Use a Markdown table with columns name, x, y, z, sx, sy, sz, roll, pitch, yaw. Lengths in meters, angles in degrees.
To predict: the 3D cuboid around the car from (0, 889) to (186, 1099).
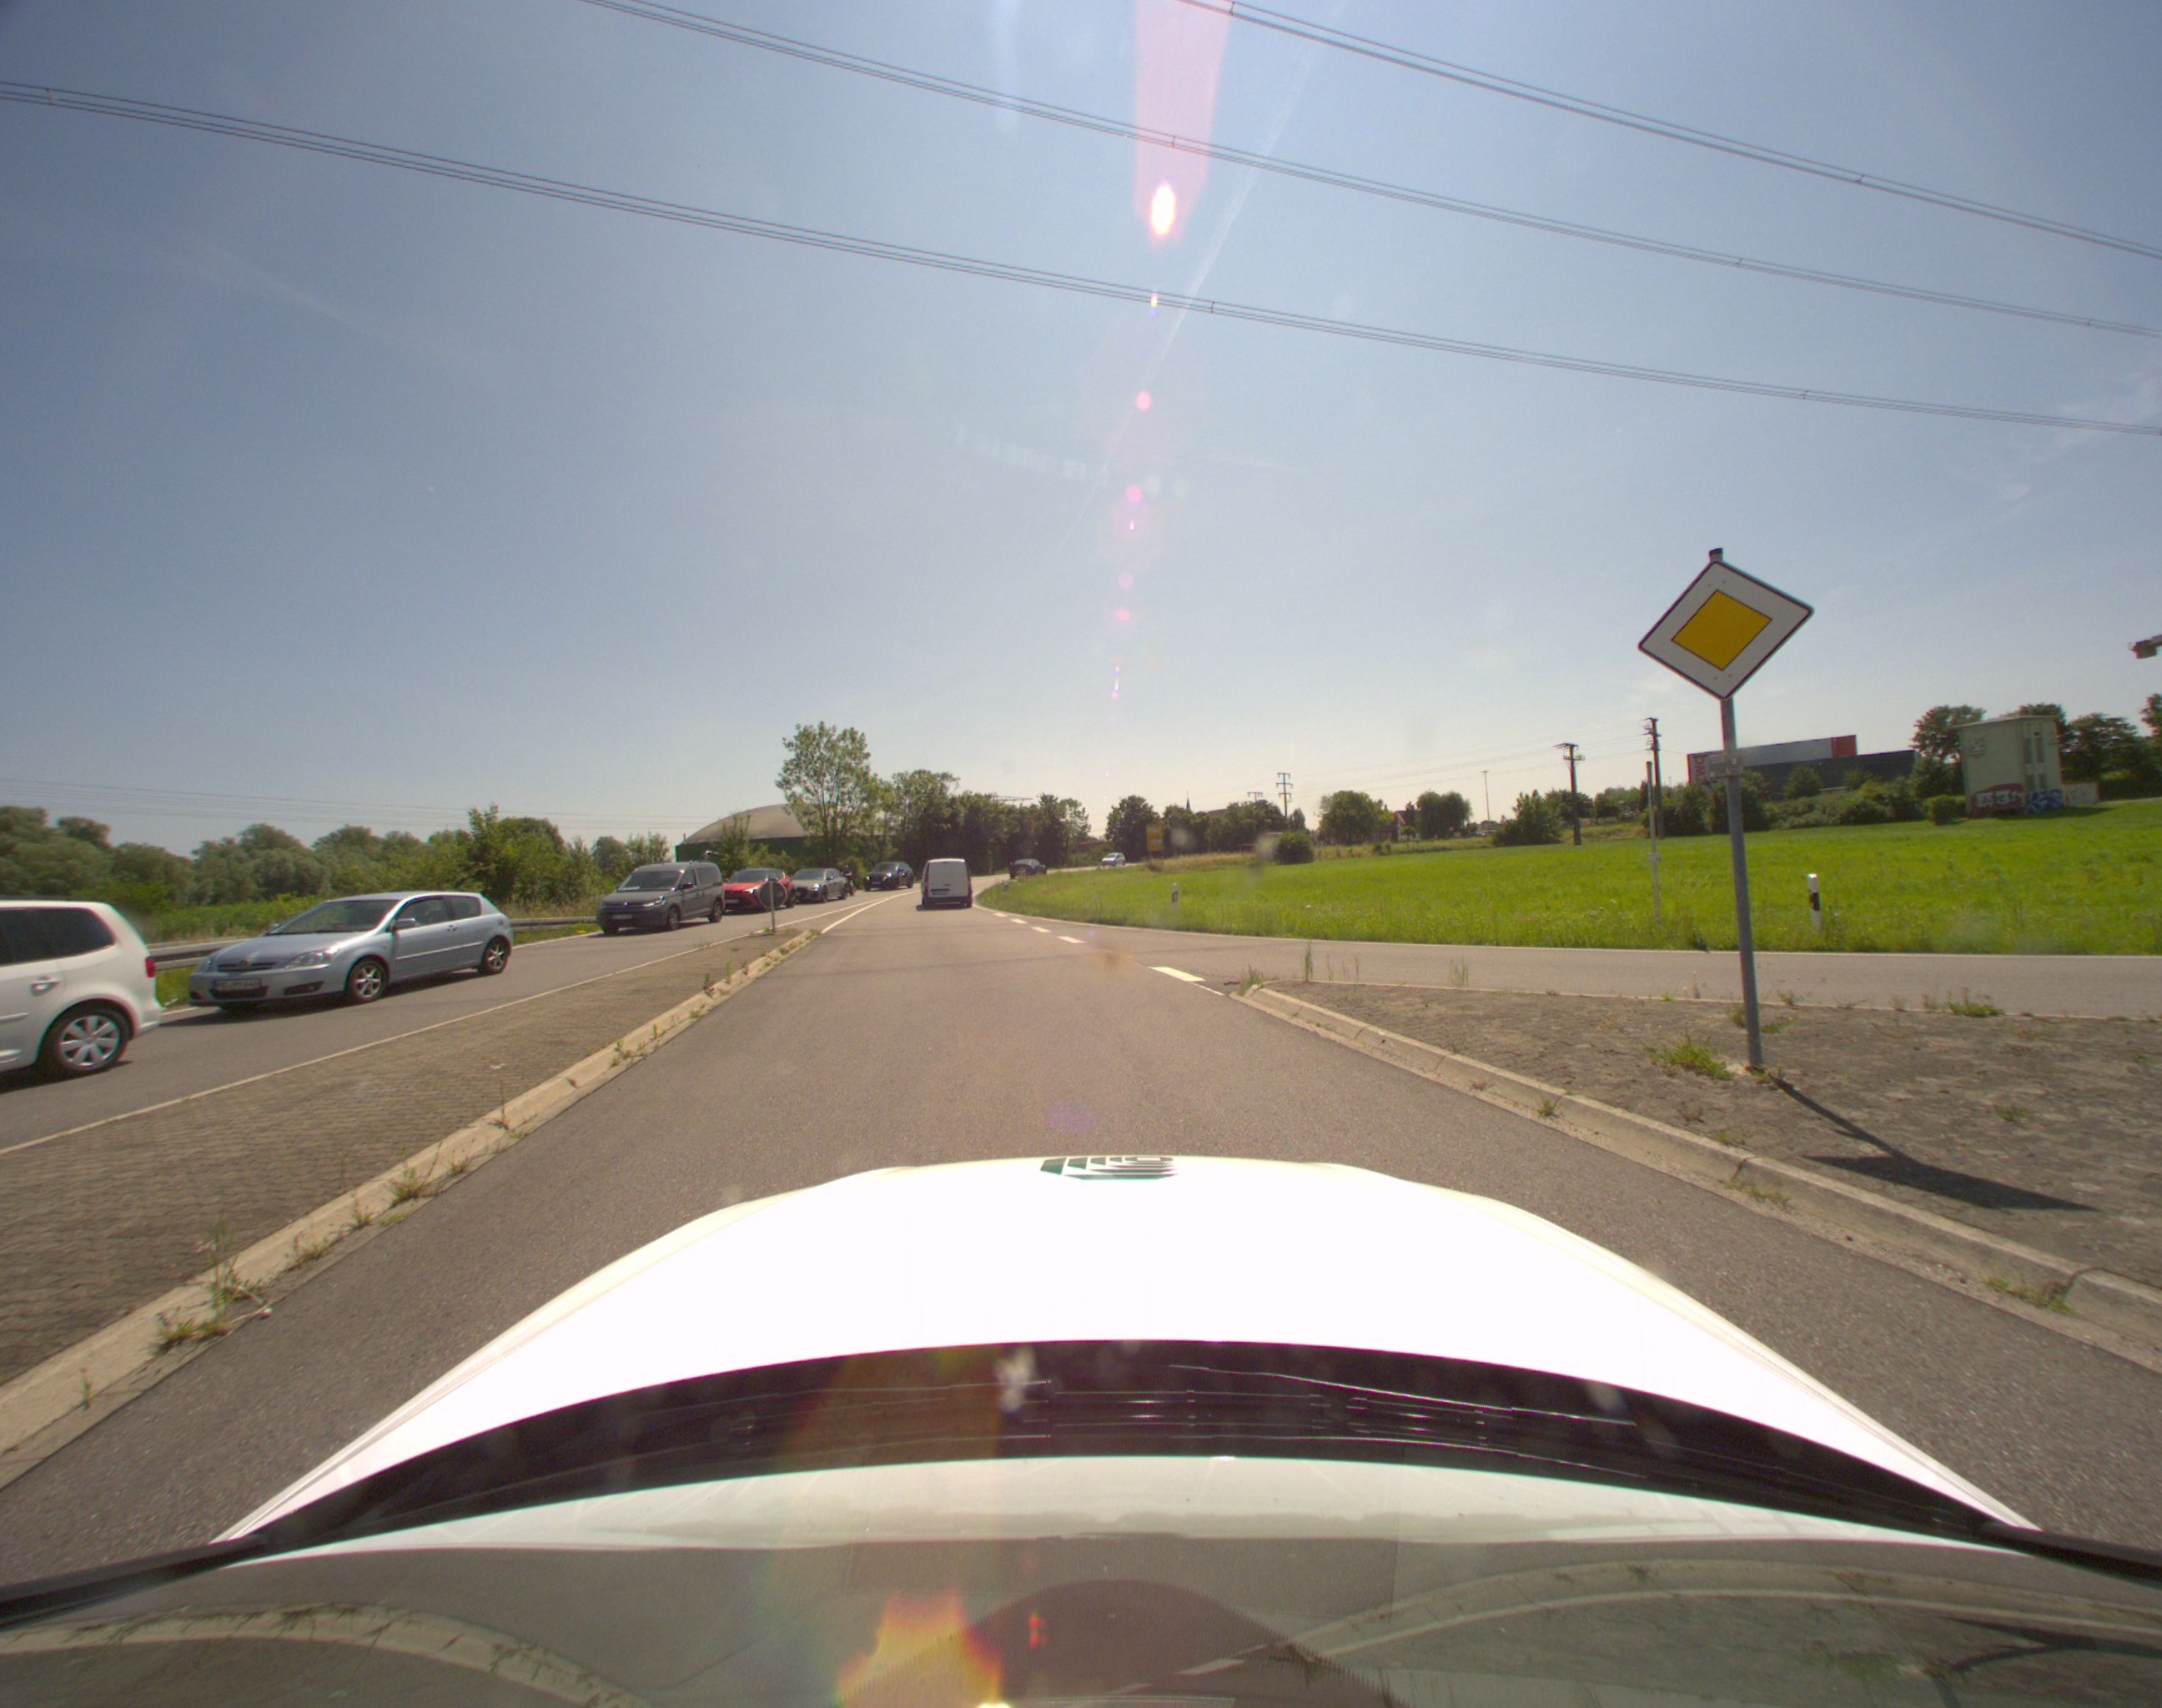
| name | x | y | z | sx | sy | sz | roll | pitch | yaw |
| --- | --- | --- | --- | --- | --- | --- | --- | --- | --- |
| car | -9.516 | 1.171 | 5.741 | 1.769 | 1.620 | 4.324 | -1 | 0 | -4 |

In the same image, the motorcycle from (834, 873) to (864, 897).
| name | x | y | z | sx | sy | sz | roll | pitch | yaw |
| --- | --- | --- | --- | --- | --- | --- | --- | --- | --- |
| motorcycle | -11.673 | 1.528 | 41.071 | 0.779 | 1.123 | 2.430 | -1 | -1 | 1 |

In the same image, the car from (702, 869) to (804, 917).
| name | x | y | z | sx | sy | sz | roll | pitch | yaw |
| --- | --- | --- | --- | --- | --- | --- | --- | --- | --- |
| car | -11.795 | 1.345 | 29.624 | 1.792 | 1.515 | 4.392 | -3 | -1 | 1 |

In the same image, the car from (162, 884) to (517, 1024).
| name | x | y | z | sx | sy | sz | roll | pitch | yaw |
| --- | --- | --- | --- | --- | --- | --- | --- | --- | --- |
| car | -10.372 | 1.283 | 11.887 | 1.629 | 1.459 | 4.002 | -3 | 0 | -4 |

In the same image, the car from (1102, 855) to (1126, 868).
| name | x | y | z | sx | sy | sz | roll | pitch | yaw |
| --- | --- | --- | --- | --- | --- | --- | --- | --- | --- |
| car | 3.835 | 0.870 | 93.971 | 1.522 | 1.443 | 3.628 | 0 | 0 | 25 |

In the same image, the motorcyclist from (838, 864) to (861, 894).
| name | x | y | z | sx | sy | sz | roll | pitch | yaw |
| --- | --- | --- | --- | --- | --- | --- | --- | --- | --- |
| motorcyclist | -11.675 | 1.248 | 41.130 | 0.778 | 1.495 | 1.131 | -2 | -1 | 0 |

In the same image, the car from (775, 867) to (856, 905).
| name | x | y | z | sx | sy | sz | roll | pitch | yaw |
| --- | --- | --- | --- | --- | --- | --- | --- | --- | --- |
| car | -11.549 | 1.355 | 35.797 | 1.835 | 1.460 | 4.809 | -2 | -1 | 1 |

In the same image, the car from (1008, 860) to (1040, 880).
| name | x | y | z | sx | sy | sz | roll | pitch | yaw |
| --- | --- | --- | --- | --- | --- | --- | --- | --- | --- |
| car | -4.427 | 1.232 | 63.547 | 1.710 | 1.420 | 3.752 | -3 | -1 | 7 |

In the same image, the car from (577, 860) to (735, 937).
| name | x | y | z | sx | sy | sz | roll | pitch | yaw |
| --- | --- | --- | --- | --- | --- | --- | --- | --- | --- |
| car | -11.615 | 1.144 | 22.678 | 1.919 | 1.832 | 4.439 | -3 | -1 | 1 |

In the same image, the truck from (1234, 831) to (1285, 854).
| name | x | y | z | sx | sy | sz | roll | pitch | yaw |
| --- | --- | --- | --- | --- | --- | --- | --- | --- | --- |
| truck | 25.823 | -1.601 | 117.451 | 3.069 | 3.137 | 8.856 | -2 | -1 | 43 |

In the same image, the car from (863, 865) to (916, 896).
| name | x | y | z | sx | sy | sz | roll | pitch | yaw |
| --- | --- | --- | --- | --- | --- | --- | --- | --- | --- |
| car | -11.140 | 1.528 | 47.690 | 1.693 | 1.638 | 4.256 | -1 | 0 | 6 |

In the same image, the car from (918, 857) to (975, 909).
| name | x | y | z | sx | sy | sz | roll | pitch | yaw |
| --- | --- | --- | --- | --- | --- | --- | --- | --- | --- |
| car | -5.050 | 1.062 | 30.498 | 1.904 | 1.732 | 3.808 | -3 | -1 | -10 |
